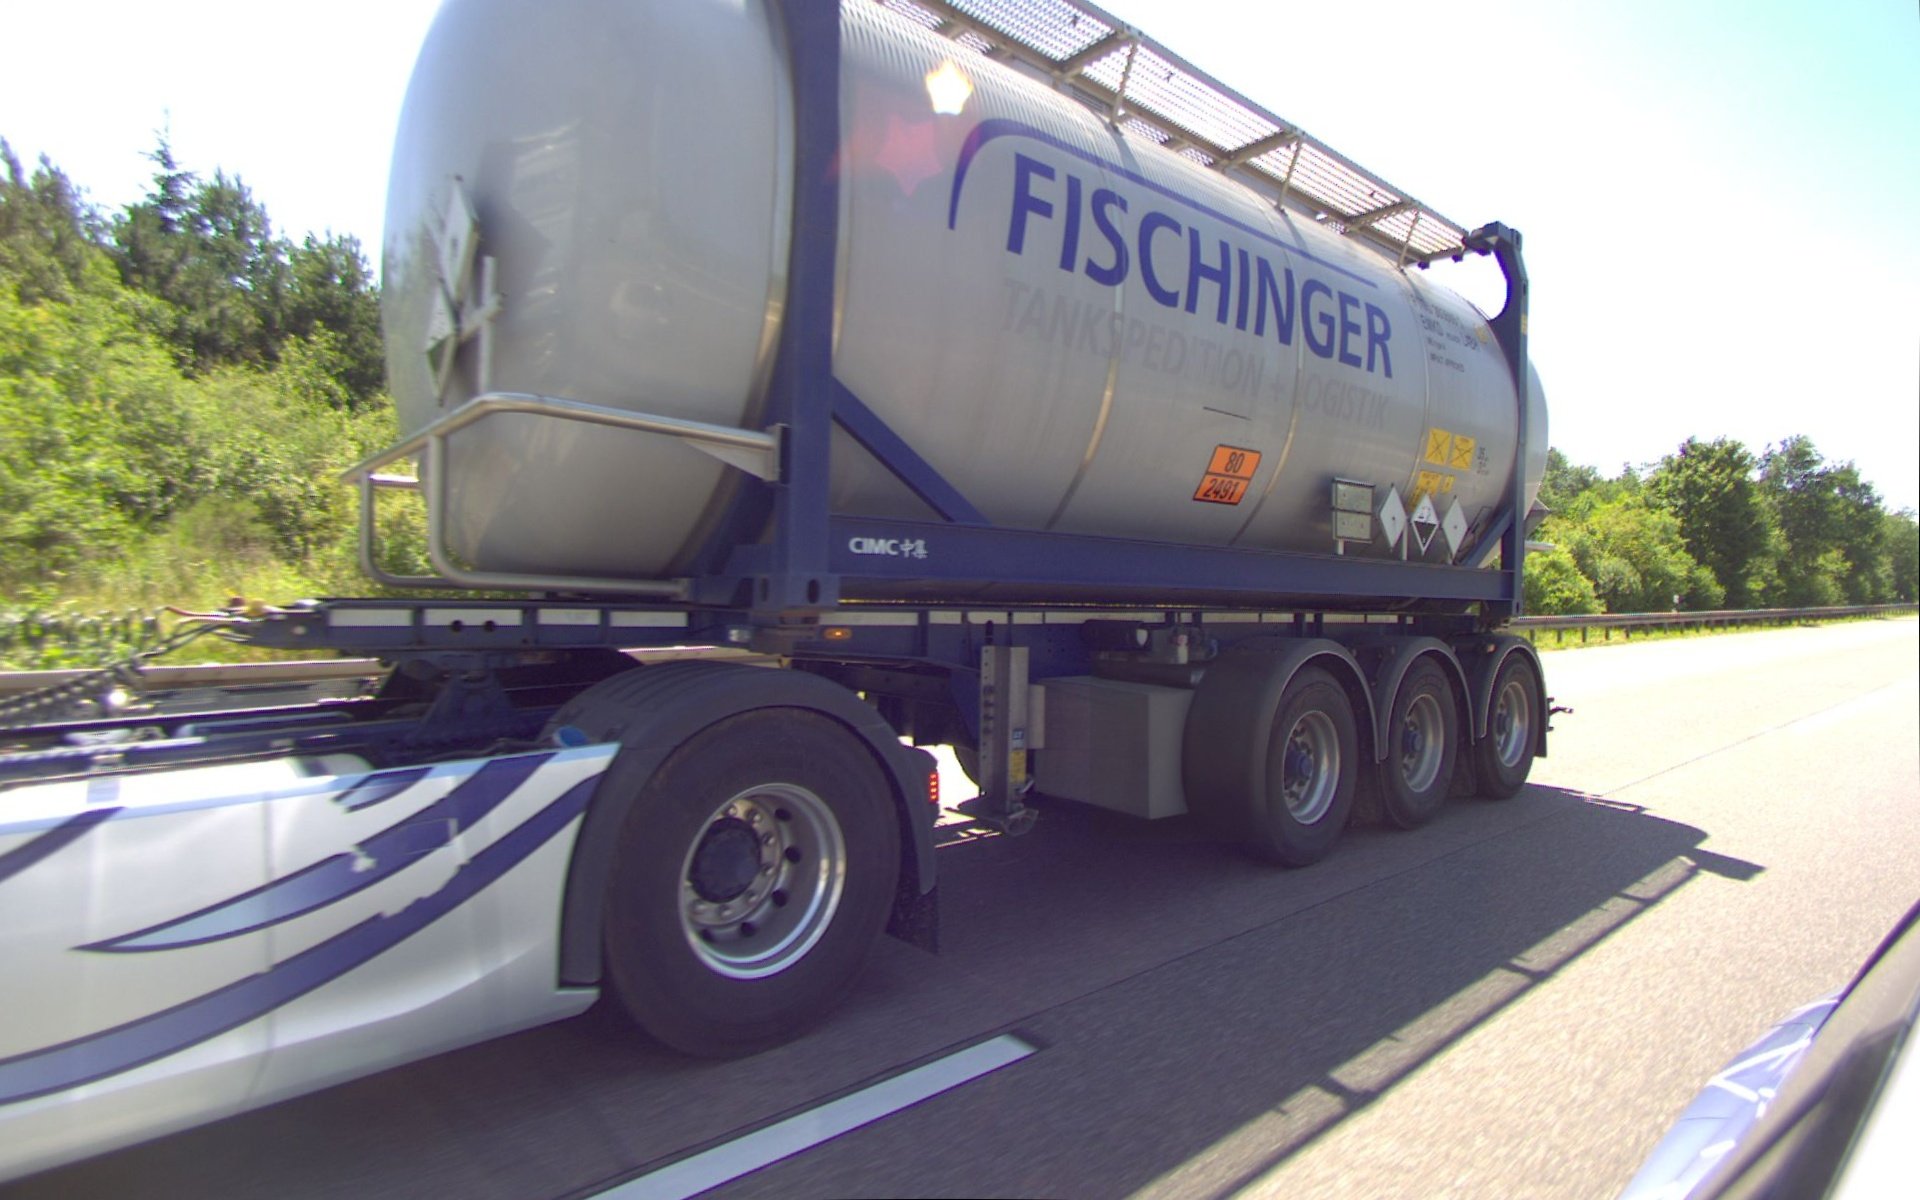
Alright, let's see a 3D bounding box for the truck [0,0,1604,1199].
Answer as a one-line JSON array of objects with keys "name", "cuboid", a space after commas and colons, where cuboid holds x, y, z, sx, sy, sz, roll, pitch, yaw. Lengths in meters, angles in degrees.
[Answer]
[{"name": "truck", "cuboid": [-0.847, -0.725, 4.650, 13.121, 4.097, 2.803, -1, 0, -41]}]
